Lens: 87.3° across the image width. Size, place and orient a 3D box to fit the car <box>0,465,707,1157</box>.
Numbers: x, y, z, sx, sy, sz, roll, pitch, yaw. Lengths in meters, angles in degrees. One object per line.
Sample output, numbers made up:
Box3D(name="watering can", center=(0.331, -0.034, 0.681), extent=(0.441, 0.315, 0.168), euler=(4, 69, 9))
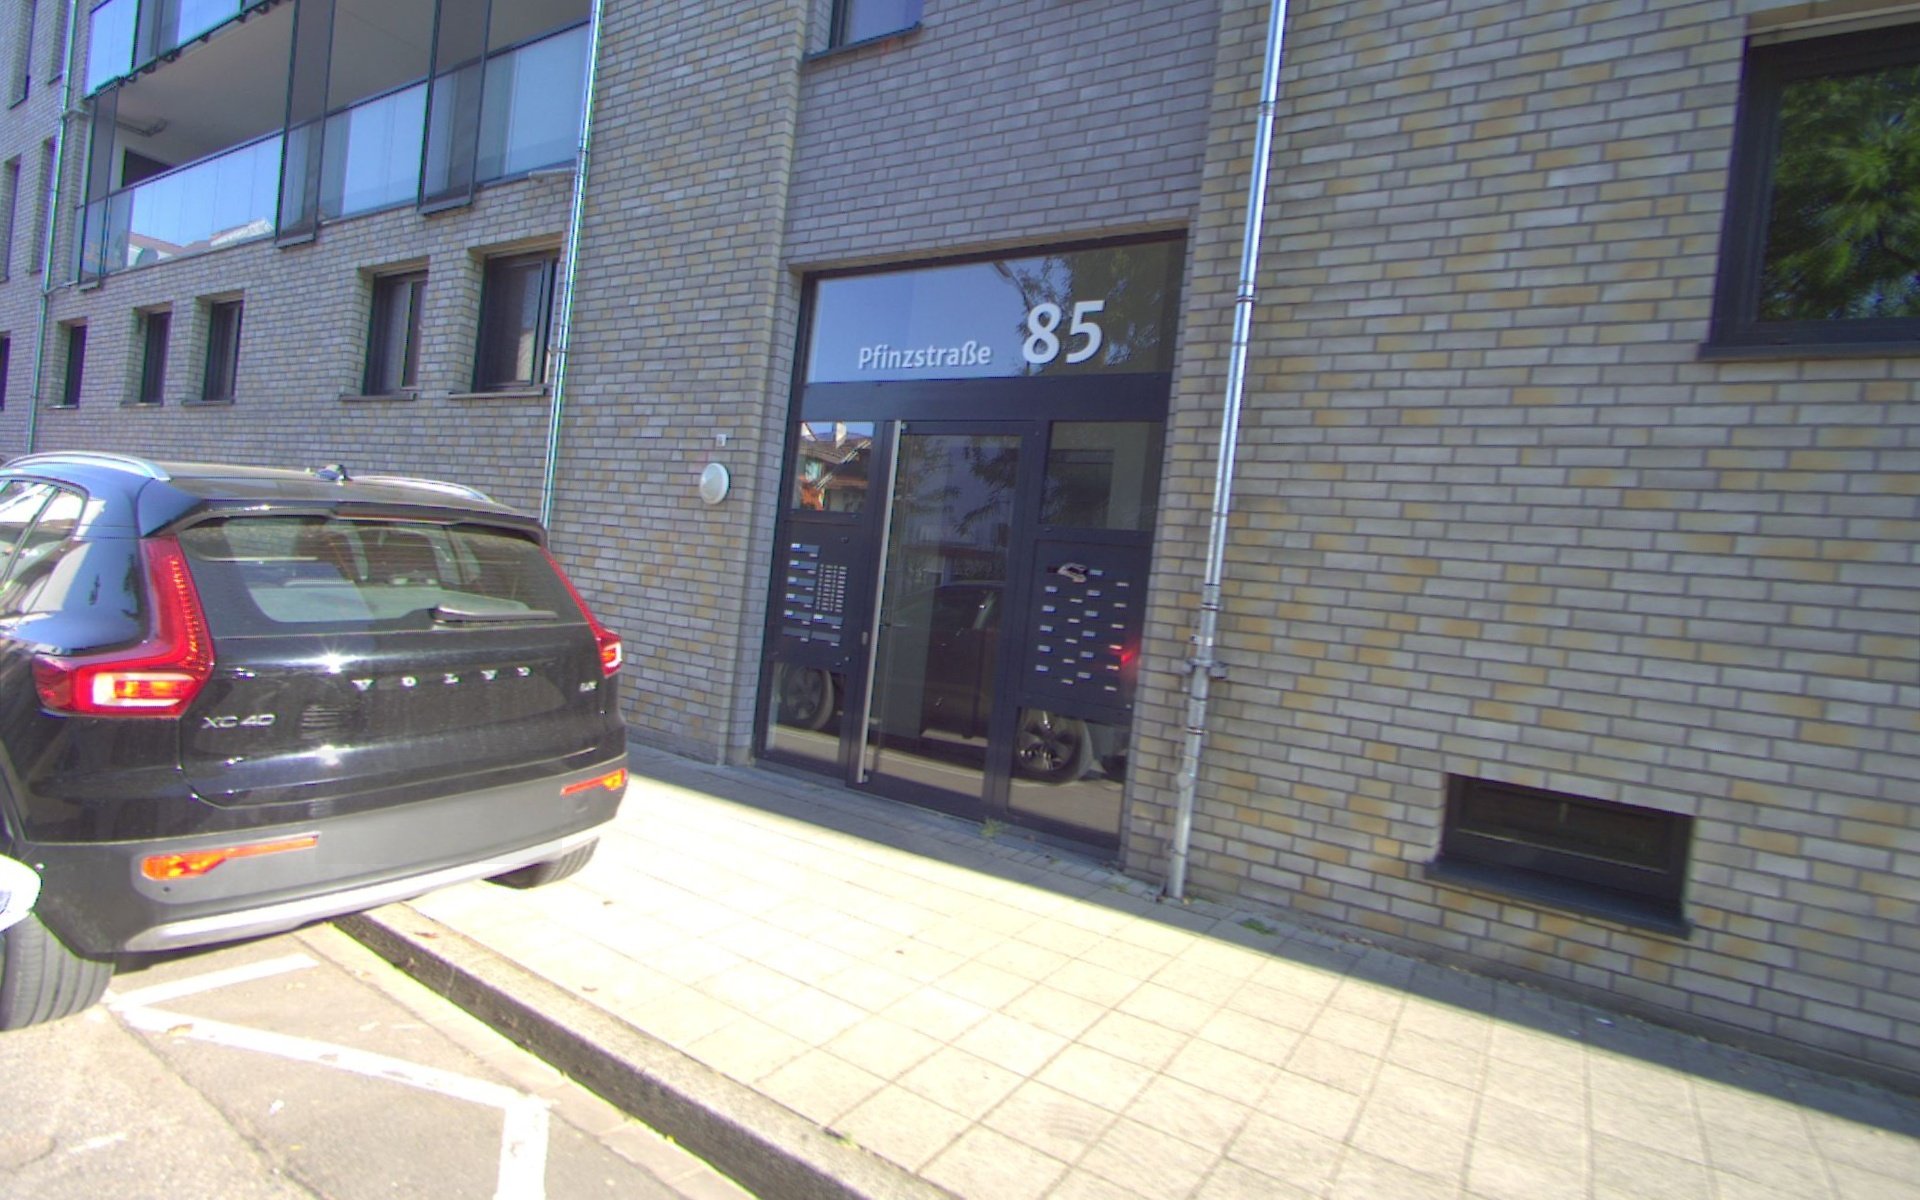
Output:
Box3D(name="car", center=(-3.248, 0.316, 4.045), extent=(4.199, 1.485, 1.818), euler=(7, 0, 32))

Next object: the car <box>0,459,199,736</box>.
Box3D(name="car", center=(-7.836, -0.254, 7.745), extent=(4.701, 1.733, 1.889), euler=(8, 1, 38))
